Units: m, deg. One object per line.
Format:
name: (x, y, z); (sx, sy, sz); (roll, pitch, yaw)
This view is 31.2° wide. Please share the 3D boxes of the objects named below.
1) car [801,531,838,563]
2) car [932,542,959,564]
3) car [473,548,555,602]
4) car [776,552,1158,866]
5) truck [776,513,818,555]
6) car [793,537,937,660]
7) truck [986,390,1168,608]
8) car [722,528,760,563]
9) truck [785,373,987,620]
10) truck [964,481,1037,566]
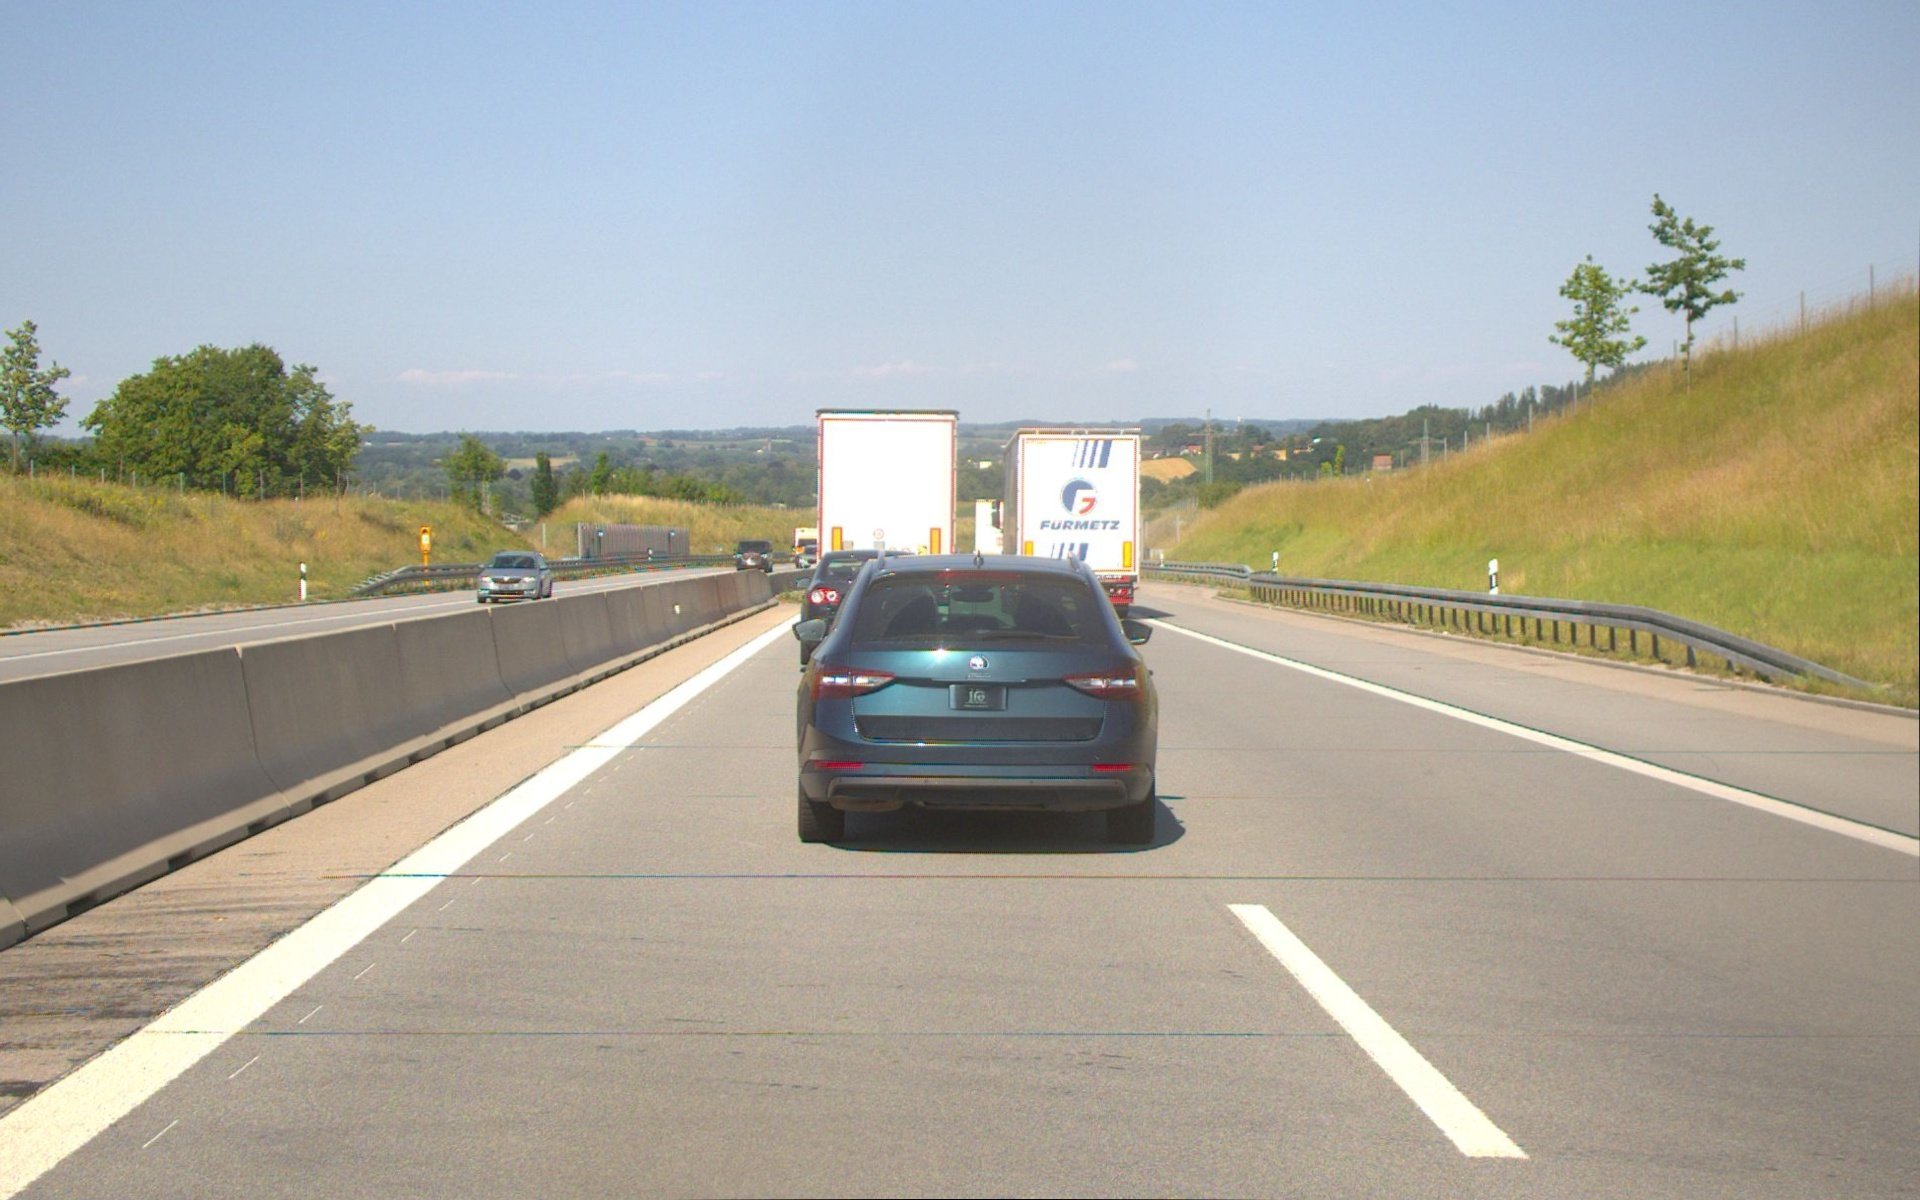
car: (-7.969, -3.022, 194.720); (1.931, 1.726, 4.886); (1, 1, -1)
car: (-0.958, -3.047, 222.982); (1.700, 1.436, 4.000); (0, 1, 0)
car: (-12.666, -0.723, 97.844); (1.803, 1.466, 4.527); (0, 1, -1)
car: (-0.033, 0.486, 17.957); (1.776, 1.436, 3.789); (0, 1, -2)
truck: (-11.825, -4.816, 249.718); (2.774, 3.011, 6.793); (0, 1, -1)
car: (-1.231, -0.060, 43.991); (1.700, 1.436, 4.001); (-2, 1, -2)
truck: (2.591, -2.208, 76.809); (3.604, 4.366, 11.233); (-2, 1, 2)
car: (-13.004, -3.246, 204.647); (1.993, 2.007, 4.970); (1, 1, -1)
truck: (-1.303, -2.004, 68.172); (3.211, 4.366, 11.233); (-2, 1, 2)
truck: (2.285, -4.165, 188.036); (3.604, 4.366, 11.233); (-2, 1, 2)
